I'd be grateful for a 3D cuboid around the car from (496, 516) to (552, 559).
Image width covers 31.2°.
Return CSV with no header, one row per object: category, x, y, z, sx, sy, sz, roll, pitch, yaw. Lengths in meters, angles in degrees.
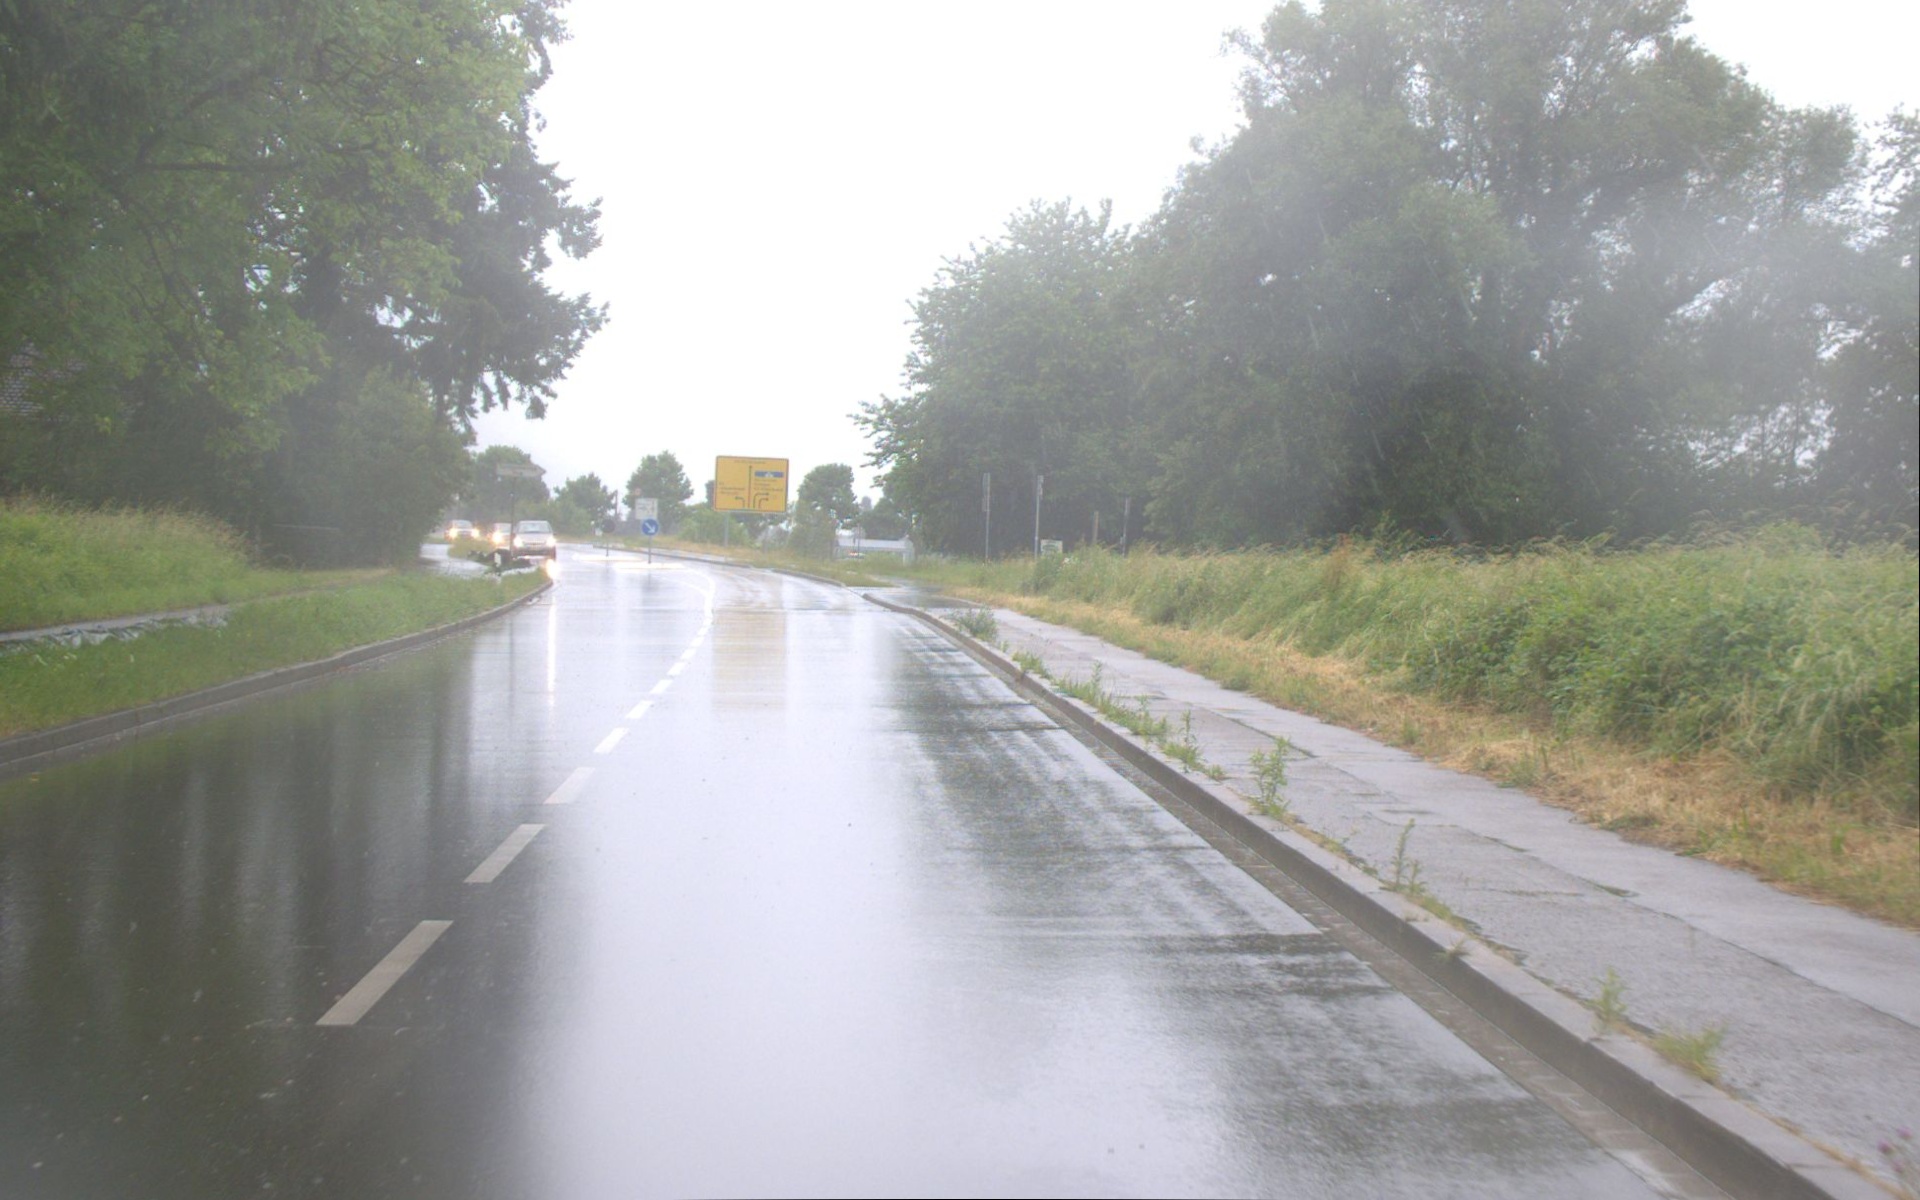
car,-18.106,-2.619,142.592,1.760,1.547,4.002,1,4,-15
